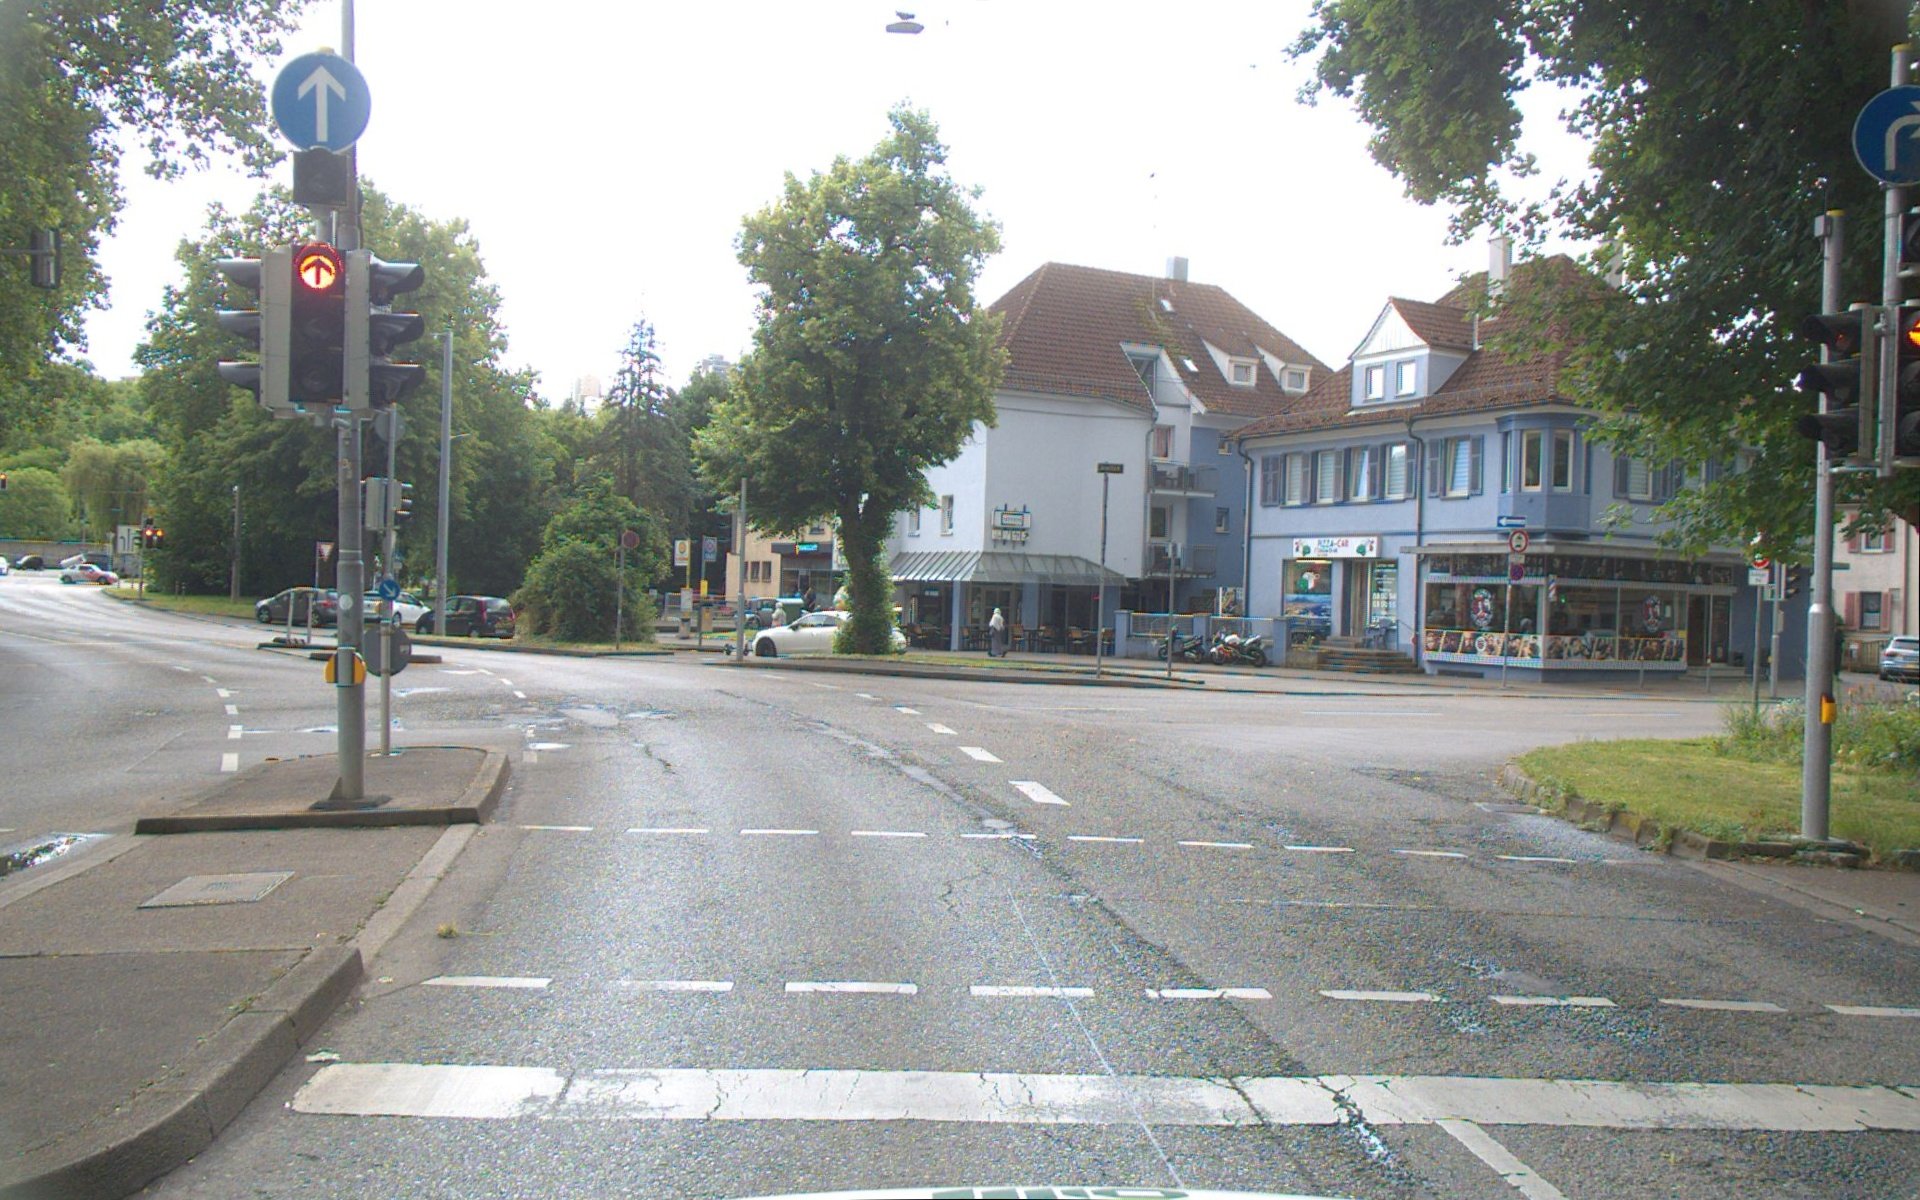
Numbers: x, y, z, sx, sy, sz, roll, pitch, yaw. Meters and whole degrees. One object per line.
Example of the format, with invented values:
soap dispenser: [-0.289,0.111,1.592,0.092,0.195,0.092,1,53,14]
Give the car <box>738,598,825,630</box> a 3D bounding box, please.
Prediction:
car: [-8.162,0.640,75.733,3.690,1.368,1.421,1,0,-27]

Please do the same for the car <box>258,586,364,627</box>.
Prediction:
car: [-24.862,0.244,63.394,3.469,1.490,1.586,1,0,12]

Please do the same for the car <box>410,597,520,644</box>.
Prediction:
car: [-16.010,0.658,53.463,3.519,1.418,1.468,1,0,32]

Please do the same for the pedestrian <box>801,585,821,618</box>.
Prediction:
pedestrian: [-7.248,0.060,80.342,0.670,1.572,0.699,2,0,-35]

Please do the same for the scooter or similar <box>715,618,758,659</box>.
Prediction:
scooter or similar: [-5.733,0.981,42.543,0.408,1.029,1.567,1,0,20]

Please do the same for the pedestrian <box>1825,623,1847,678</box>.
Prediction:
pedestrian: [25.147,1.449,47.477,0.448,1.544,0.588,1,-1,18]

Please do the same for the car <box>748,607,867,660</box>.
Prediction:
car: [-4.247,0.916,45.959,3.110,1.378,1.435,1,0,34]

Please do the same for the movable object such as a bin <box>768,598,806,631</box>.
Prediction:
movable object such as a bin: [-7.722,0.657,73.843,1.424,1.433,0.959,1,0,-27]

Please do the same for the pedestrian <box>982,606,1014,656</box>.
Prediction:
pedestrian: [1.216,0.976,52.531,0.754,1.572,0.675,1,-1,38]

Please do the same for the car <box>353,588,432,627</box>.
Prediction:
car: [-22.672,0.306,66.185,1.512,1.490,3.398,1,0,10]

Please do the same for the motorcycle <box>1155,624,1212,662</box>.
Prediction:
motorcycle: [6.789,1.292,50.238,1.609,1.082,0.690,1,0,44]

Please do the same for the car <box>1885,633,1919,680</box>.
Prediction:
car: [29.849,1.737,51.416,1.471,1.393,3.164,1,0,38]

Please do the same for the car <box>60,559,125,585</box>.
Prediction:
car: [-64.982,-2.069,123.922,3.919,1.814,1.993,1,0,-14]

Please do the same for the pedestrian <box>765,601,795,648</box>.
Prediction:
pedestrian: [-6.174,0.843,56.730,0.694,1.572,0.675,1,0,39]

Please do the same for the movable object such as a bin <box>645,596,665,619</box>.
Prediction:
movable object such as a bin: [-15.857,0.394,85.915,0.937,1.135,0.381,1,0,-22]

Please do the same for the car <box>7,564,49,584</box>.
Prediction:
car: [-102.222,-2.827,181.489,3.948,2.049,1.978,1,0,-32]

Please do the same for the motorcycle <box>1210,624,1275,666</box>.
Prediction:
motorcycle: [8.270,1.309,48.482,1.765,1.141,0.692,1,0,38]
